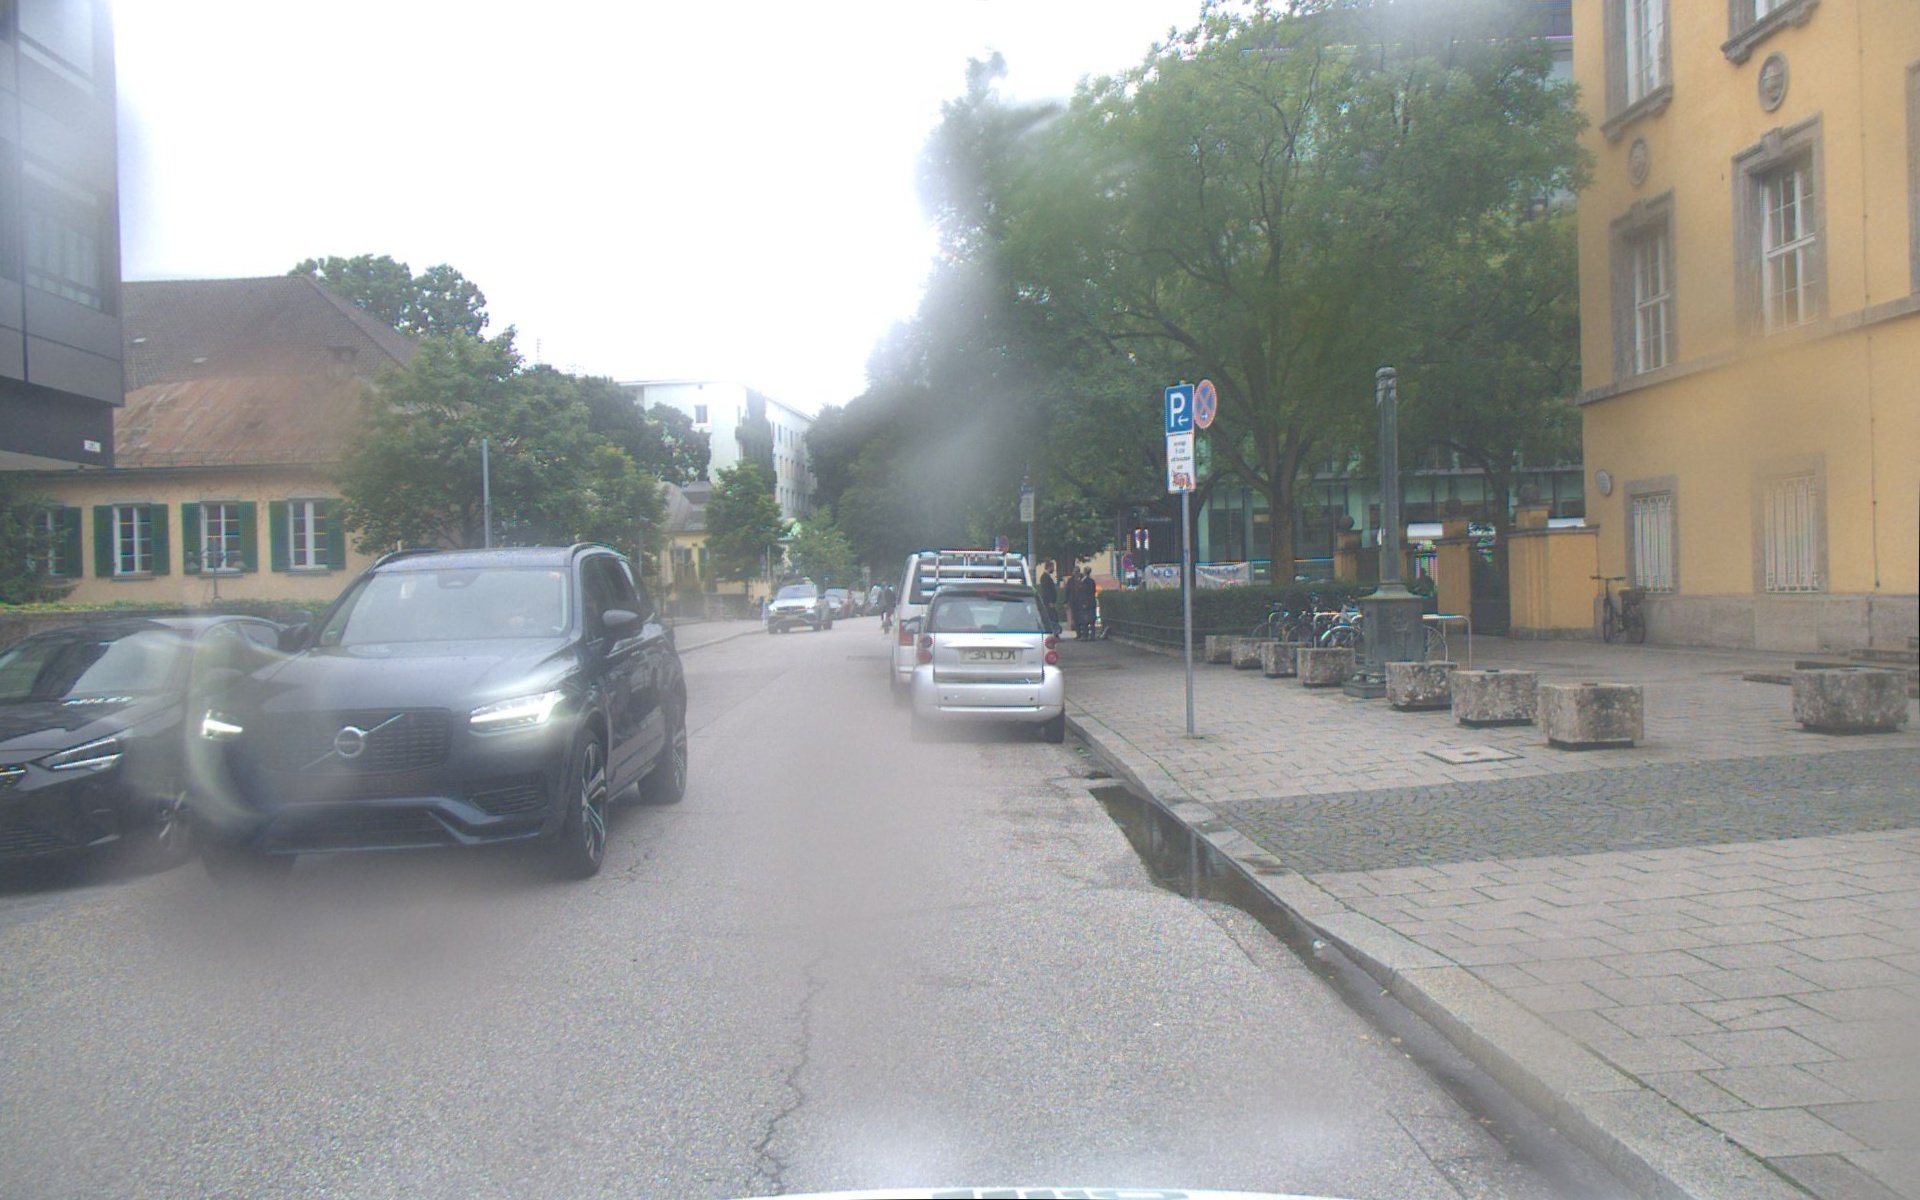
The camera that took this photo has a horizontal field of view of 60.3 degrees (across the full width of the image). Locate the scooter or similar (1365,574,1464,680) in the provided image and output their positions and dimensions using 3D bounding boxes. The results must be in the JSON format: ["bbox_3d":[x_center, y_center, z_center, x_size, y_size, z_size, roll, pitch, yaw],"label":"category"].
[{"bbox_3d":[5.567,0.337,20.269,0.994,1.243,0.534,-2,0,43],"label":"scooter or similar"}]

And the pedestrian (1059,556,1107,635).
[{"bbox_3d":[3.085,-0.117,41.501,0.729,1.941,1.053,-2,0,33],"label":"pedestrian"}]

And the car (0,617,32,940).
[{"bbox_3d":[-5.185,0.887,5.608,1.648,1.465,4.278,-4,0,-1],"label":"car"}]

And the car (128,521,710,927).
[{"bbox_3d":[-2.825,0.542,9.980,1.921,1.710,4.910,-4,0,-2],"label":"car"}]

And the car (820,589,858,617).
[{"bbox_3d":[-7.104,0.189,97.773,1.953,1.631,3.999,-1,-1,-1],"label":"car"}]

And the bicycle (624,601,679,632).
[{"bbox_3d":[-11.286,0.595,60.540,1.890,1.118,0.615,0,0,1],"label":"bicycle"}]

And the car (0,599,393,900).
[{"bbox_3d":[-5.259,0.808,10.643,1.705,1.486,4.236,-4,0,-1],"label":"car"}]

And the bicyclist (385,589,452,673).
[{"bbox_3d":[-10.088,0.575,30.823,1.072,1.524,0.672,-2,-1,-11],"label":"bicyclist"}]

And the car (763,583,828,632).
[{"bbox_3d":[-6.166,0.249,62.526,1.983,1.718,4.677,-2,1,-1],"label":"car"}]

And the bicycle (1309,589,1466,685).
[{"bbox_3d":[5.563,0.476,21.561,1.894,1.133,0.471,-3,0,-5],"label":"bicycle"}]

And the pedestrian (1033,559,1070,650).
[{"bbox_3d":[2.245,0.103,40.546,0.727,2.172,1.055,-2,0,-3],"label":"pedestrian"}]

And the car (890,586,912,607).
[{"bbox_3d":[-5.215,-0.332,147.048,1.773,1.712,4.000,-2,1,0],"label":"car"}]

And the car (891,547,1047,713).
[{"bbox_3d":[0.003,0.346,22.593,1.808,1.967,5.269,1,0,-3],"label":"car"}]

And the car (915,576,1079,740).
[{"bbox_3d":[0.320,0.552,17.503,1.573,1.573,2.933,0,0,-2],"label":"car"}]

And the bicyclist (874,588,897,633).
[{"bbox_3d":[-2.432,0.346,53.741,0.690,1.418,0.868,1,-1,-1],"label":"bicyclist"}]

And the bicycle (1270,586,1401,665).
[{"bbox_3d":[5.853,0.396,25.837,1.892,1.133,0.471,-3,0,0],"label":"bicycle"}]

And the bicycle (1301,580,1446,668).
[{"bbox_3d":[5.870,0.337,23.524,1.892,1.133,0.471,-3,0,0],"label":"bicycle"}]

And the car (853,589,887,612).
[{"bbox_3d":[-6.276,0.032,115.658,1.952,1.512,4.002,-2,1,2],"label":"car"}]

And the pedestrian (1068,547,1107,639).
[{"bbox_3d":[3.099,-0.165,40.244,0.727,2.172,1.055,-2,0,-3],"label":"pedestrian"}]

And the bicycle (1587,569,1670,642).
[{"bbox_3d":[11.330,0.071,28.081,0.531,1.174,1.901,-2,1,-3],"label":"bicycle"}]

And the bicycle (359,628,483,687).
[{"bbox_3d":[-10.031,1.063,30.850,2.094,1.022,0.622,-2,-1,-9],"label":"bicycle"}]

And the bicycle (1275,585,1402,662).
[{"bbox_3d":[6.089,0.373,26.636,1.892,1.133,0.471,-3,0,-1],"label":"bicycle"}]

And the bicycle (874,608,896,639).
[{"bbox_3d":[-2.438,0.749,53.781,0.613,0.971,1.860,1,0,-1],"label":"bicycle"}]

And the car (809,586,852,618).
[{"bbox_3d":[-7.227,0.090,92.685,1.952,1.677,4.656,-1,0,1],"label":"car"}]

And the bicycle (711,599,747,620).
[{"bbox_3d":[-11.112,0.469,79.604,1.594,0.942,0.646,-1,-1,-27],"label":"bicycle"}]
